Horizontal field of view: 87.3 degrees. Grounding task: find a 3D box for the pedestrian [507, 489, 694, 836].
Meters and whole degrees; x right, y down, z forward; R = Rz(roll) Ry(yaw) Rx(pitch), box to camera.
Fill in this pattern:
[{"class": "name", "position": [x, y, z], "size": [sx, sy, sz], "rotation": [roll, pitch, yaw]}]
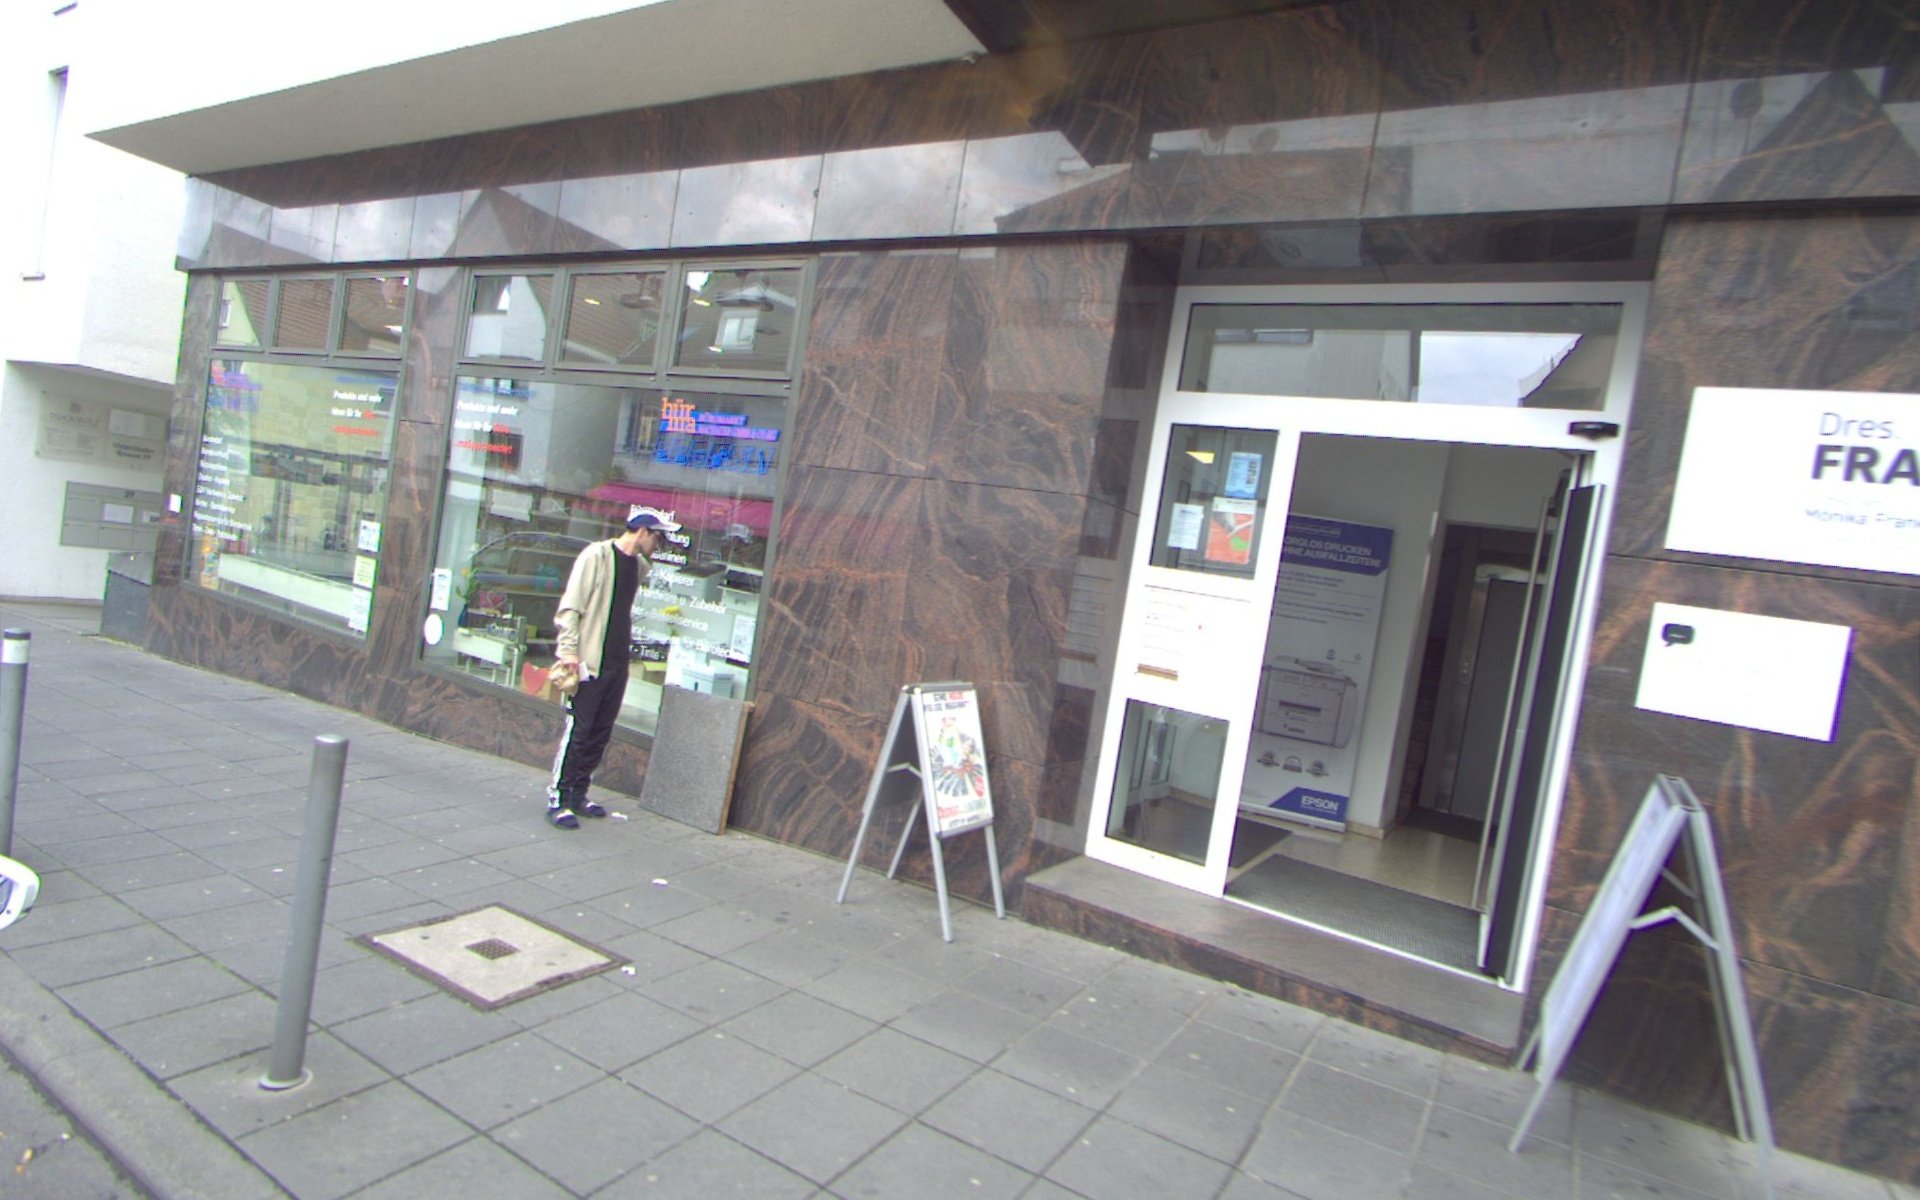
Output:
[{"class": "pedestrian", "position": [-1.923, 0.309, 5.415], "size": [0.533, 1.712, 0.663], "rotation": [7, 4, 25]}]
